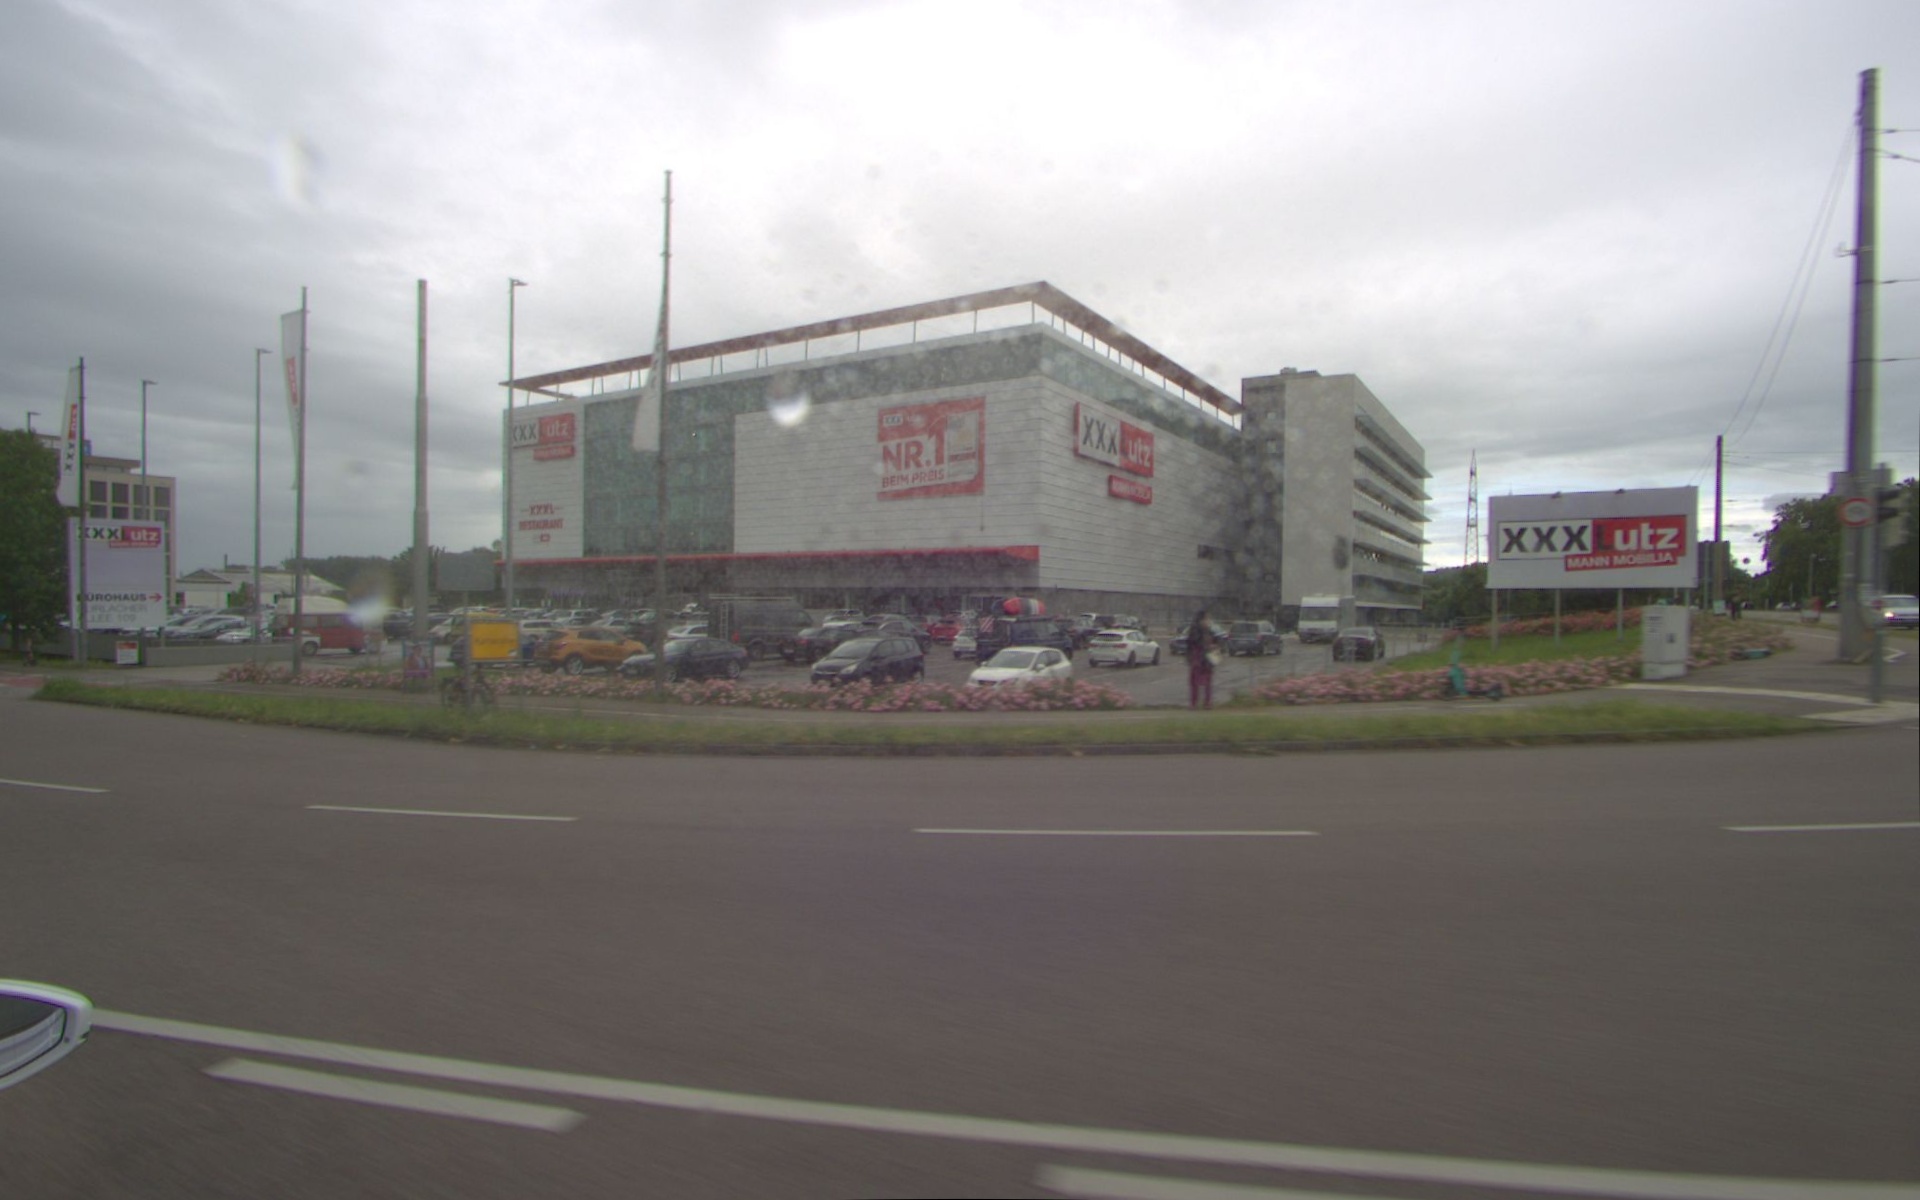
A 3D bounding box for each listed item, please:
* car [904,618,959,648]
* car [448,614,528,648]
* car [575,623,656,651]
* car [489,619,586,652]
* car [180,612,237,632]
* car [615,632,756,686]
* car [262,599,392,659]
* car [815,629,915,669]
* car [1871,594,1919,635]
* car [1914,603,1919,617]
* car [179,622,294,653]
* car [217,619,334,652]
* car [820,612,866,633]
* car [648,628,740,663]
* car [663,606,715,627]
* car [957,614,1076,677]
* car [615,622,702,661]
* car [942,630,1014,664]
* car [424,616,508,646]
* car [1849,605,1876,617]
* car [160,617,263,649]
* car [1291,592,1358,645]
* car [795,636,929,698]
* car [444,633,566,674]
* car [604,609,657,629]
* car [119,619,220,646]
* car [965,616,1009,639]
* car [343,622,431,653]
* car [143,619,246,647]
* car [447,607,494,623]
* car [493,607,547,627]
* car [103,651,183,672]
[{"bbox_3d":[-1.802,2.120,64.269,1.788,1.866,3.670,-1,-2,34],"label":"car"},{"bbox_3d":[-26.520,1.745,56.322,1.709,1.791,3.728,2,0,34],"label":"car"},{"bbox_3d":[-19.789,2.104,57.643,1.715,1.488,4.230,2,-1,34],"label":"car"},{"bbox_3d":[-22.302,1.861,53.011,1.808,1.604,4.402,2,-1,34],"label":"car"},{"bbox_3d":[-64.774,1.878,86.326,1.679,1.654,3.621,2,0,37],"label":"car"},{"bbox_3d":[-8.984,1.889,33.147,1.744,1.604,4.518,1,-1,32],"label":"car"},{"bbox_3d":[-29.661,1.327,47.050,2.140,2.613,4.712,2,0,34],"label":"car"},{"bbox_3d":[-3.886,1.996,41.501,1.923,1.575,3.972,-1,-2,38],"label":"car"},{"bbox_3d":[39.799,0.635,41.771,1.720,1.623,4.058,2,0,30],"label":"car"},{"bbox_3d":[105.605,1.106,108.872,1.792,1.500,3.657,2,0,28],"label":"car"},{"bbox_3d":[-37.475,1.918,51.978,1.841,1.438,4.456,2,0,34],"label":"car"},{"bbox_3d":[-33.742,1.728,49.475,1.933,1.480,4.364,2,0,34],"label":"car"},{"bbox_3d":[-9.632,1.848,82.402,1.804,1.574,3.787,2,0,32],"label":"car"},{"bbox_3d":[-12.409,2.096,46.898,1.838,1.572,3.978,-1,-2,34],"label":"car"},{"bbox_3d":[-21.446,1.290,79.297,1.804,1.574,3.787,2,0,32],"label":"car"},{"bbox_3d":[2.218,1.664,37.949,2.095,2.193,5.018,-1,-1,37],"label":"car"},{"bbox_3d":[-14.535,1.975,48.464,1.804,1.676,3.884,1,1,31],"label":"car"},{"bbox_3d":[0.865,2.112,45.712,1.803,1.487,3.890,-1,-2,27],"label":"car"},{"bbox_3d":[-28.457,1.788,57.782,1.853,1.617,3.978,2,0,33],"label":"car"},{"bbox_3d":[117.084,1.436,129.974,1.724,1.450,3.361,2,1,28],"label":"car"},{"bbox_3d":[-39.747,1.758,53.239,1.739,1.561,4.045,2,0,34],"label":"car"},{"bbox_3d":[22.507,1.149,61.575,2.726,3.029,6.921,2,0,29],"label":"car"},{"bbox_3d":[-2.786,1.893,29.347,1.744,1.604,4.084,1,-1,33],"label":"car"},{"bbox_3d":[-17.498,2.008,38.668,1.789,1.474,3.978,-1,-2,33],"label":"car"},{"bbox_3d":[-26.313,1.536,80.112,1.717,1.574,3.764,2,0,33],"label":"car"},{"bbox_3d":[-43.933,1.809,55.730,1.738,1.368,4.048,2,0,31],"label":"car"},{"bbox_3d":[2.029,2.014,73.999,1.628,1.581,3.595,1,1,34],"label":"car"},{"bbox_3d":[-35.076,2.306,61.417,1.863,1.766,4.301,2,0,35],"label":"car"},{"bbox_3d":[-41.553,1.773,54.426,1.808,1.368,4.048,2,0,31],"label":"car"},{"bbox_3d":[-46.019,1.384,94.236,1.678,1.394,3.584,2,0,35],"label":"car"},{"bbox_3d":[-34.997,1.374,79.723,1.717,1.607,3.557,-1,-2,37],"label":"car"},{"bbox_3d":[-57.493,4.305,70.519,1.738,1.367,4.049,-1,-2,31],"label":"car"}]
